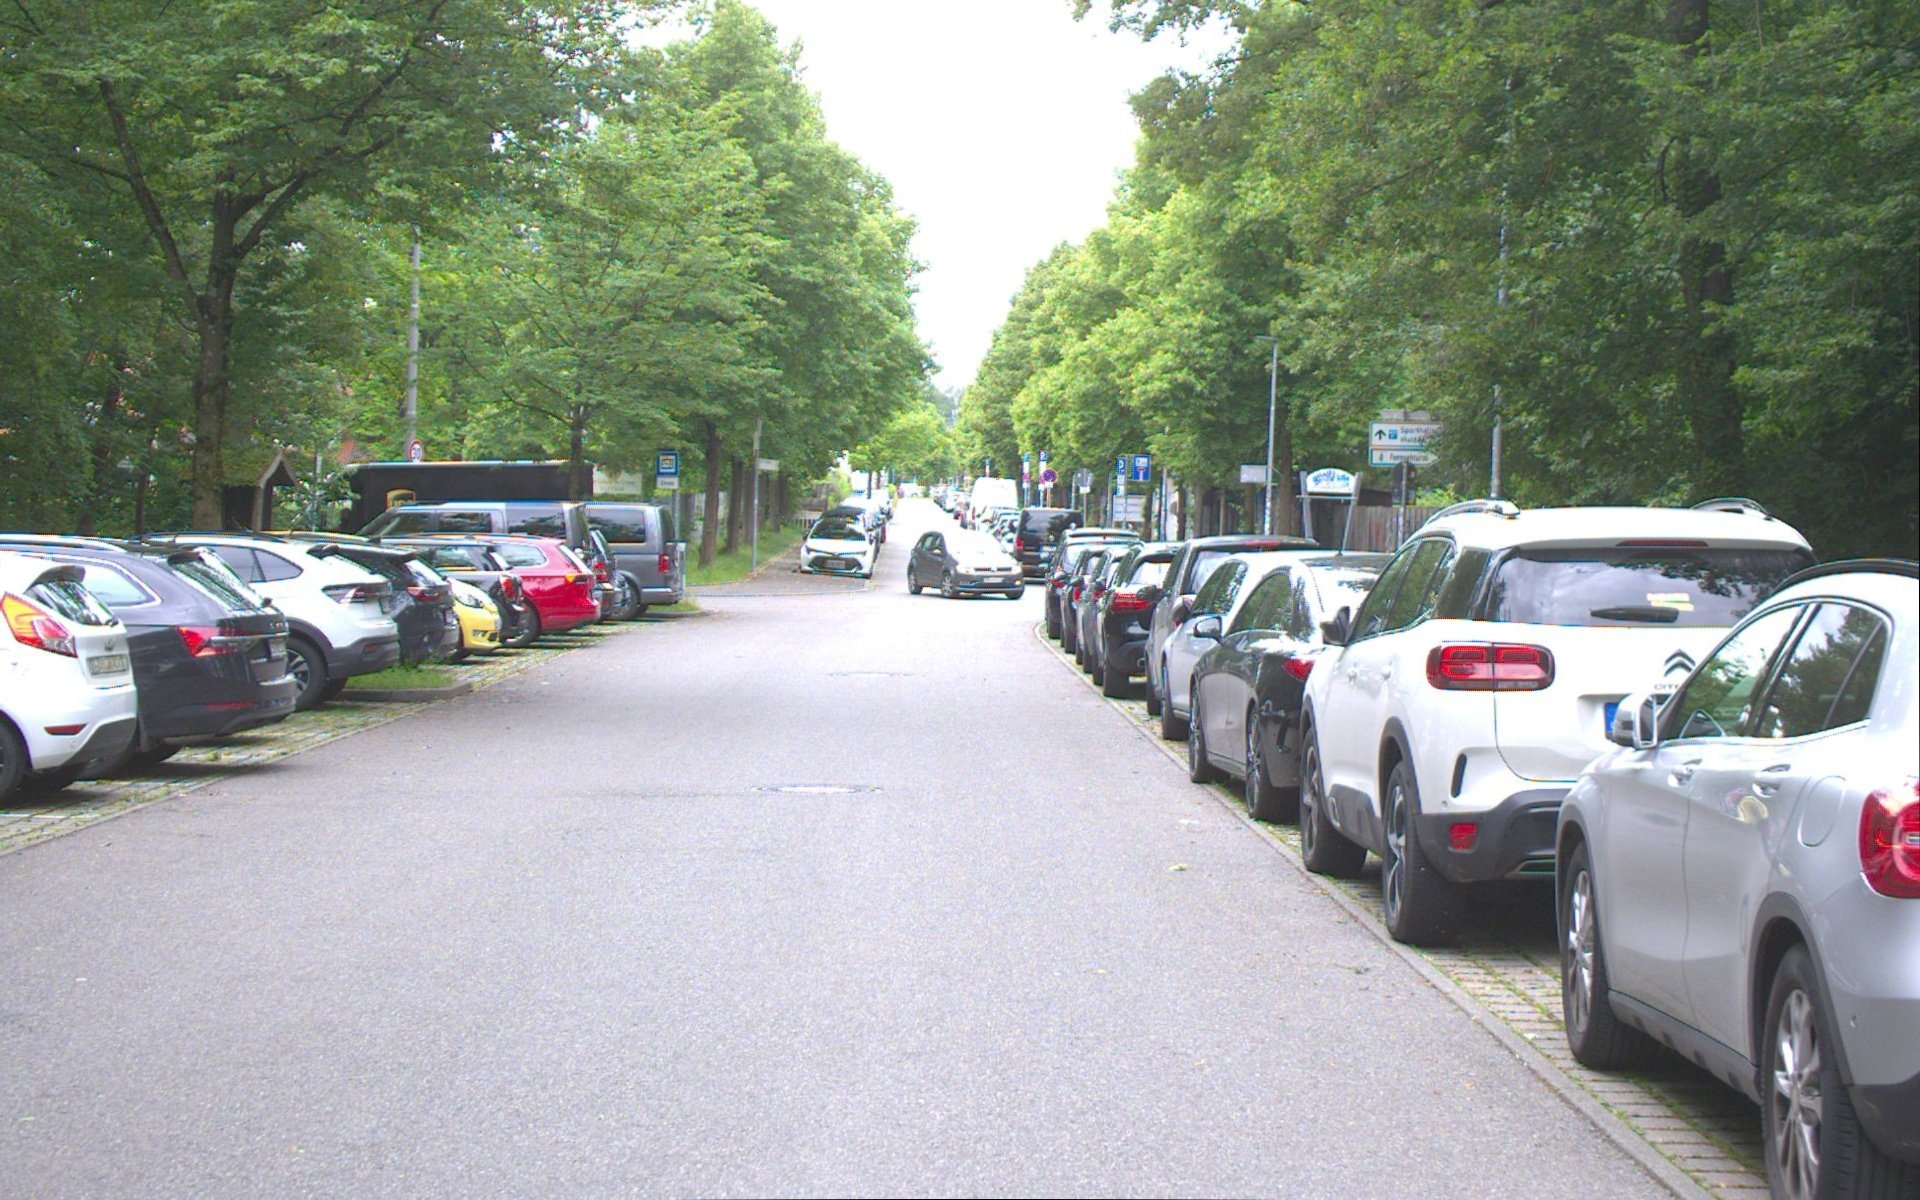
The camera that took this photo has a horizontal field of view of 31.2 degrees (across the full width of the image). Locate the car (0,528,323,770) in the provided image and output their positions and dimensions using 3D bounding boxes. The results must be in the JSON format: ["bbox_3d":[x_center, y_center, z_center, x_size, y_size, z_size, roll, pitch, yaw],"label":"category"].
[{"bbox_3d":[-6.250,0.263,22.001,3.987,1.430,1.677,1,1,1],"label":"car"}]

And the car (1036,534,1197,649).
[{"bbox_3d":[2.054,-0.152,46.162,1.736,1.427,4.502,1,1,-3],"label":"car"}]

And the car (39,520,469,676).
[{"bbox_3d":[-7.122,-0.041,34.952,3.987,1.433,1.715,2,1,0],"label":"car"}]

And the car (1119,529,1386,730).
[{"bbox_3d":[2.412,0.195,29.288,1.736,1.562,4.009,1,1,-3],"label":"car"}]

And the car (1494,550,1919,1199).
[{"bbox_3d":[2.596,0.638,8.850,1.736,1.474,4.770,1,1,1],"label":"car"}]

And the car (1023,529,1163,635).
[{"bbox_3d":[1.958,-0.307,51.681,1.736,1.489,4.234,1,1,-3],"label":"car"}]

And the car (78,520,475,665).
[{"bbox_3d":[-7.442,-0.098,37.679,3.987,1.433,1.734,2,1,0],"label":"car"}]

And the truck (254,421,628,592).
[{"bbox_3d":[-10.524,-1.849,69.459,7.245,3.225,3.442,1,0,-11],"label":"truck"}]

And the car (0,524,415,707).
[{"bbox_3d":[-6.897,0.113,30.023,3.987,1.462,1.715,1,1,-1],"label":"car"}]

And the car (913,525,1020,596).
[{"bbox_3d":[0.109,-0.865,75.010,1.872,1.481,4.001,1,1,-6],"label":"car"}]

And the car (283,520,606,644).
[{"bbox_3d":[-6.704,-0.245,45.025,3.986,1.471,1.780,2,1,-2],"label":"car"}]

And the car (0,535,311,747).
[{"bbox_3d":[-6.908,0.253,25.075,3.987,1.430,1.677,1,1,1],"label":"car"}]

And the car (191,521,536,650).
[{"bbox_3d":[-7.309,-0.191,42.389,3.986,1.433,1.672,2,1,-3],"label":"car"}]

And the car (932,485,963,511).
[{"bbox_3d":[-0.842,-7.117,240.323,1.898,1.700,4.063,1,0,3],"label":"car"}]

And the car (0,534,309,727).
[{"bbox_3d":[-7.415,0.202,27.666,3.987,1.430,1.702,1,1,1],"label":"car"}]

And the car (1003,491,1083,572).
[{"bbox_3d":[2.128,-1.785,88.918,1.988,2.006,4.108,1,2,1],"label":"car"}]

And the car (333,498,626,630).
[{"bbox_3d":[-6.927,-0.537,49.858,3.986,1.759,1.824,2,1,-2],"label":"car"}]

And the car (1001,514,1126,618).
[{"bbox_3d":[1.689,-0.592,57.432,1.736,1.628,4.376,1,1,-3],"label":"car"}]

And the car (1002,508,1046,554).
[{"bbox_3d":[2.181,-2.362,117.532,1.469,1.526,3.189,1,2,1],"label":"car"}]

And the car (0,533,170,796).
[{"bbox_3d":[-6.718,0.328,19.637,3.987,1.430,1.648,1,0,1],"label":"car"}]

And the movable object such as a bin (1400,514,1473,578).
[{"bbox_3d":[10.995,-1.253,79.322,1.282,1.437,1.078,1,1,-44],"label":"movable object such as a bin"}]

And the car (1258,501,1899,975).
[{"bbox_3d":[2.397,0.433,14.641,1.736,1.638,5.072,1,1,-1],"label":"car"}]

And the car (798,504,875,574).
[{"bbox_3d":[-3.123,-1.552,86.394,1.765,1.590,4.217,3,1,-3],"label":"car"}]

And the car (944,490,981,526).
[{"bbox_3d":[0.138,-5.525,206.858,1.994,2.007,4.000,1,0,3],"label":"car"}]

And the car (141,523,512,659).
[{"bbox_3d":[-7.331,-0.120,40.001,3.987,1.433,1.618,2,1,0],"label":"car"}]

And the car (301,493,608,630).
[{"bbox_3d":[-6.928,-0.539,47.422,3.987,1.856,1.813,0,1,-1],"label":"car"}]

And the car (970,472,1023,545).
[{"bbox_3d":[1.558,-3.914,146.891,2.184,3.005,4.897,1,2,1],"label":"car"}]

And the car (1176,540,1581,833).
[{"bbox_3d":[2.310,0.407,20.099,1.736,1.469,4.605,1,1,-1],"label":"car"}]

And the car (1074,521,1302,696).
[{"bbox_3d":[2.178,0.033,33.886,1.736,1.583,4.383,1,1,-3],"label":"car"}]

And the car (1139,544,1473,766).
[{"bbox_3d":[2.404,0.332,24.886,1.736,1.420,4.155,1,1,-3],"label":"car"}]

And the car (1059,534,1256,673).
[{"bbox_3d":[2.161,-0.006,38.755,1.736,1.427,4.502,1,1,-3],"label":"car"}]

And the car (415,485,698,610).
[{"bbox_3d":[-6.673,-0.866,57.215,4.502,1.971,1.891,1,0,-1],"label":"car"}]
